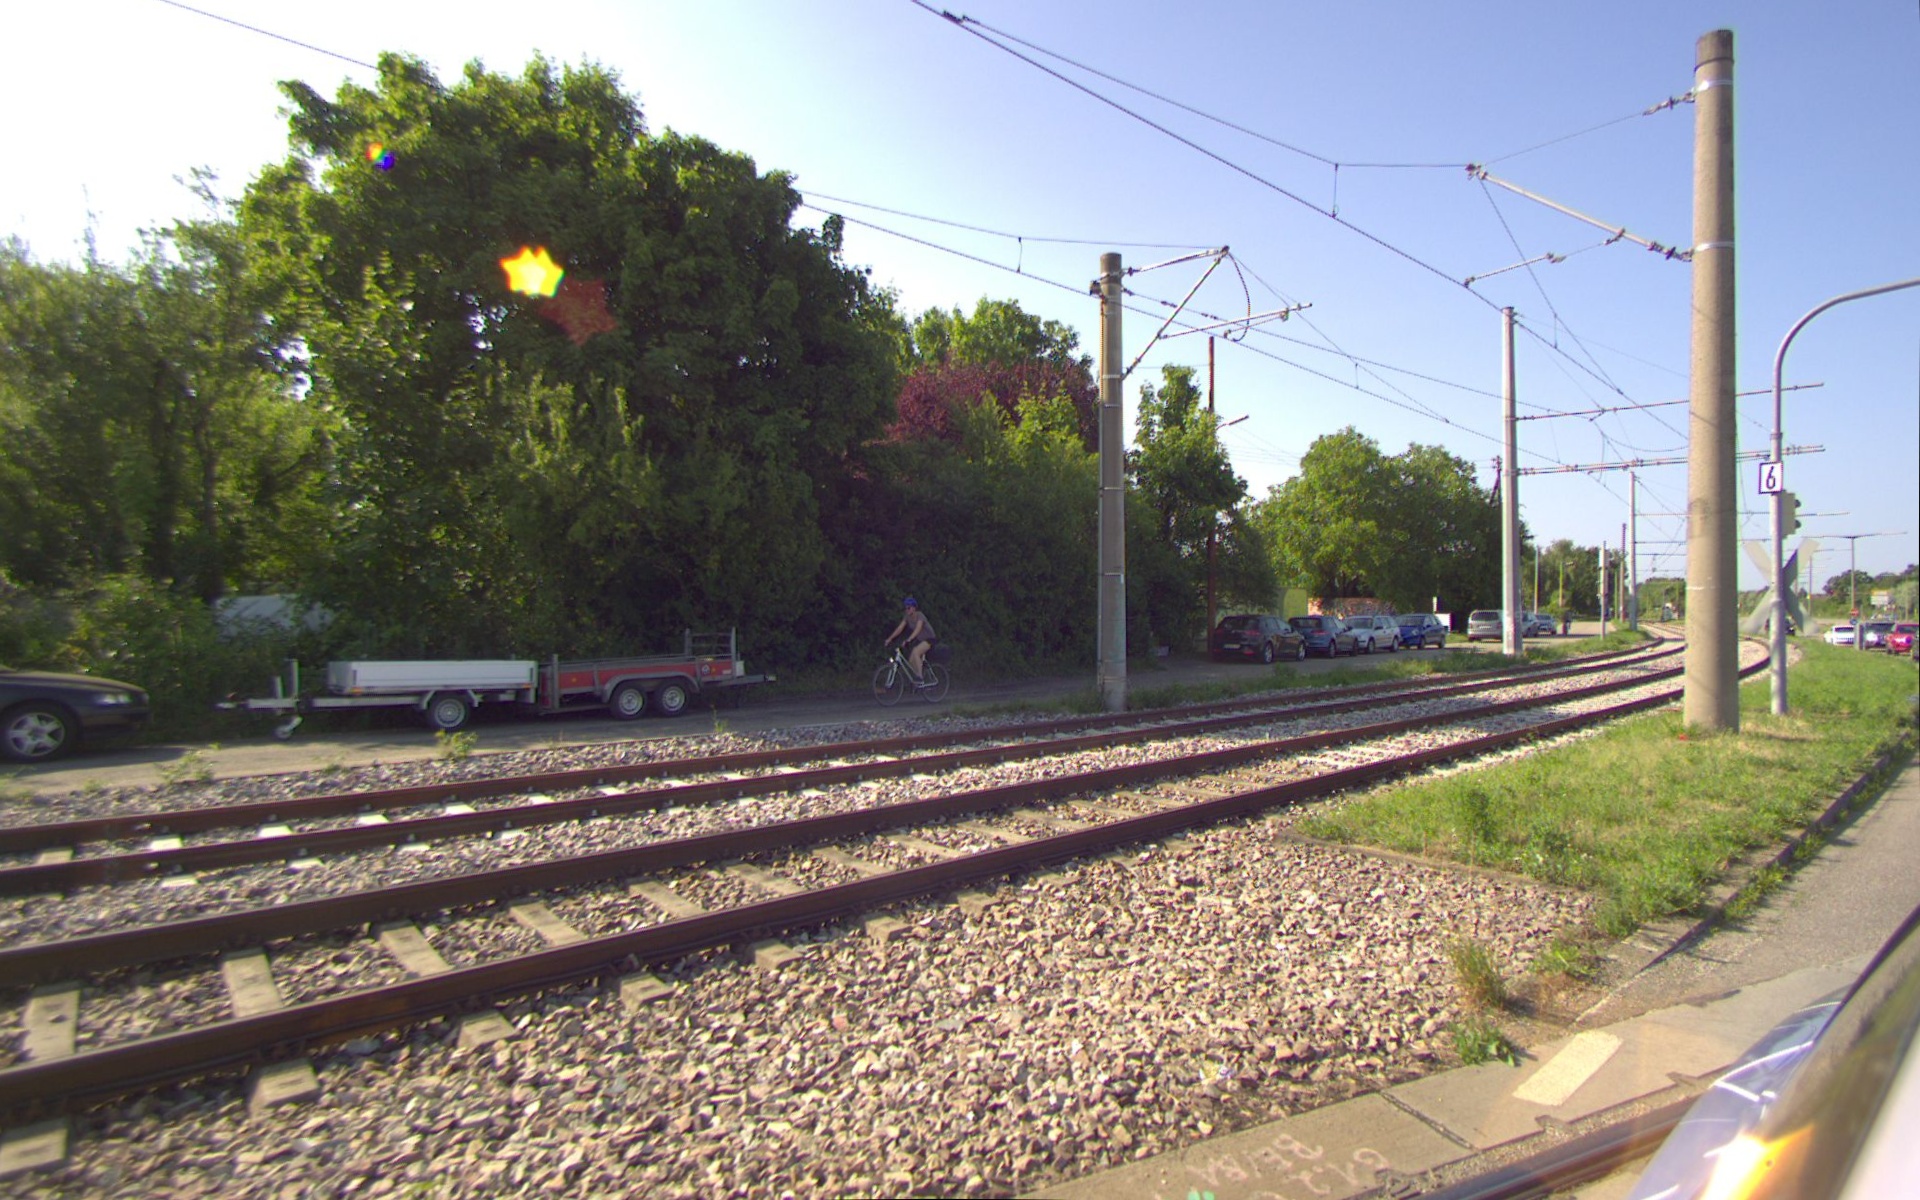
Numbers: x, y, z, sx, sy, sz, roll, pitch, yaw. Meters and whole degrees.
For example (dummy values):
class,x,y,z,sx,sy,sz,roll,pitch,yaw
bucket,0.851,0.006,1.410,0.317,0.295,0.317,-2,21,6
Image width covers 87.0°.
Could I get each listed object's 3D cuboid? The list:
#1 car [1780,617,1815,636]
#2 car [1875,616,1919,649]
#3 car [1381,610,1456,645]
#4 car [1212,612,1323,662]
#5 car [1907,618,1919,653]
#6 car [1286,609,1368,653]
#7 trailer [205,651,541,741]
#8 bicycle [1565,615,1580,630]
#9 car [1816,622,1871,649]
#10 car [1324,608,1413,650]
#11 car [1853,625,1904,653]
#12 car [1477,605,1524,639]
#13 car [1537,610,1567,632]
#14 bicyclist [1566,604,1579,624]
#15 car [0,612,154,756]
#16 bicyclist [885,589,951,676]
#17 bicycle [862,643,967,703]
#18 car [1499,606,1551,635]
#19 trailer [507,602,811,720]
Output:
class,x,y,z,sx,sy,sz,roll,pitch,yaw
car,72.542,2.289,87.740,1.825,1.533,4.103,-1,-2,33
car,47.171,1.608,50.491,1.838,1.617,3.687,-2,-2,37
car,19.608,1.175,43.178,1.678,1.449,3.847,-2,-2,45
car,9.544,1.098,31.234,1.620,1.428,4.454,-1,-2,41
car,38.619,1.368,39.593,1.838,1.373,4.098,-2,-2,37
car,12.704,1.021,34.902,1.481,1.419,4.092,1,0,38
trailer,-7.794,1.208,13.591,3.662,0.952,1.734,1,-3,-41
bicycle,38.954,1.441,64.370,0.641,0.921,1.789,-1,-1,36
car,57.544,2.307,65.998,1.953,1.639,4.260,-1,-1,31
car,15.697,1.089,38.764,1.709,1.484,4.320,1,0,43
car,51.988,2.198,57.340,1.598,1.533,4.213,-2,-2,35
car,27.686,1.127,51.784,1.518,1.631,4.425,1,0,36
car,41.479,1.441,70.886,1.529,1.466,4.080,1,0,34
bicyclist,38.972,0.879,64.409,0.637,1.249,0.781,-1,-2,36
car,-11.276,0.875,10.268,4.791,1.475,1.702,1,-3,-38
bicyclist,-0.720,0.549,17.305,0.946,1.440,0.630,1,-1,-43
bicycle,-0.759,1.219,17.255,1.813,0.921,0.643,1,-1,-43
car,34.435,1.233,61.623,1.905,1.610,4.657,1,0,41
trailer,-4.702,0.894,16.094,4.185,1.617,2.029,1,-3,-41
